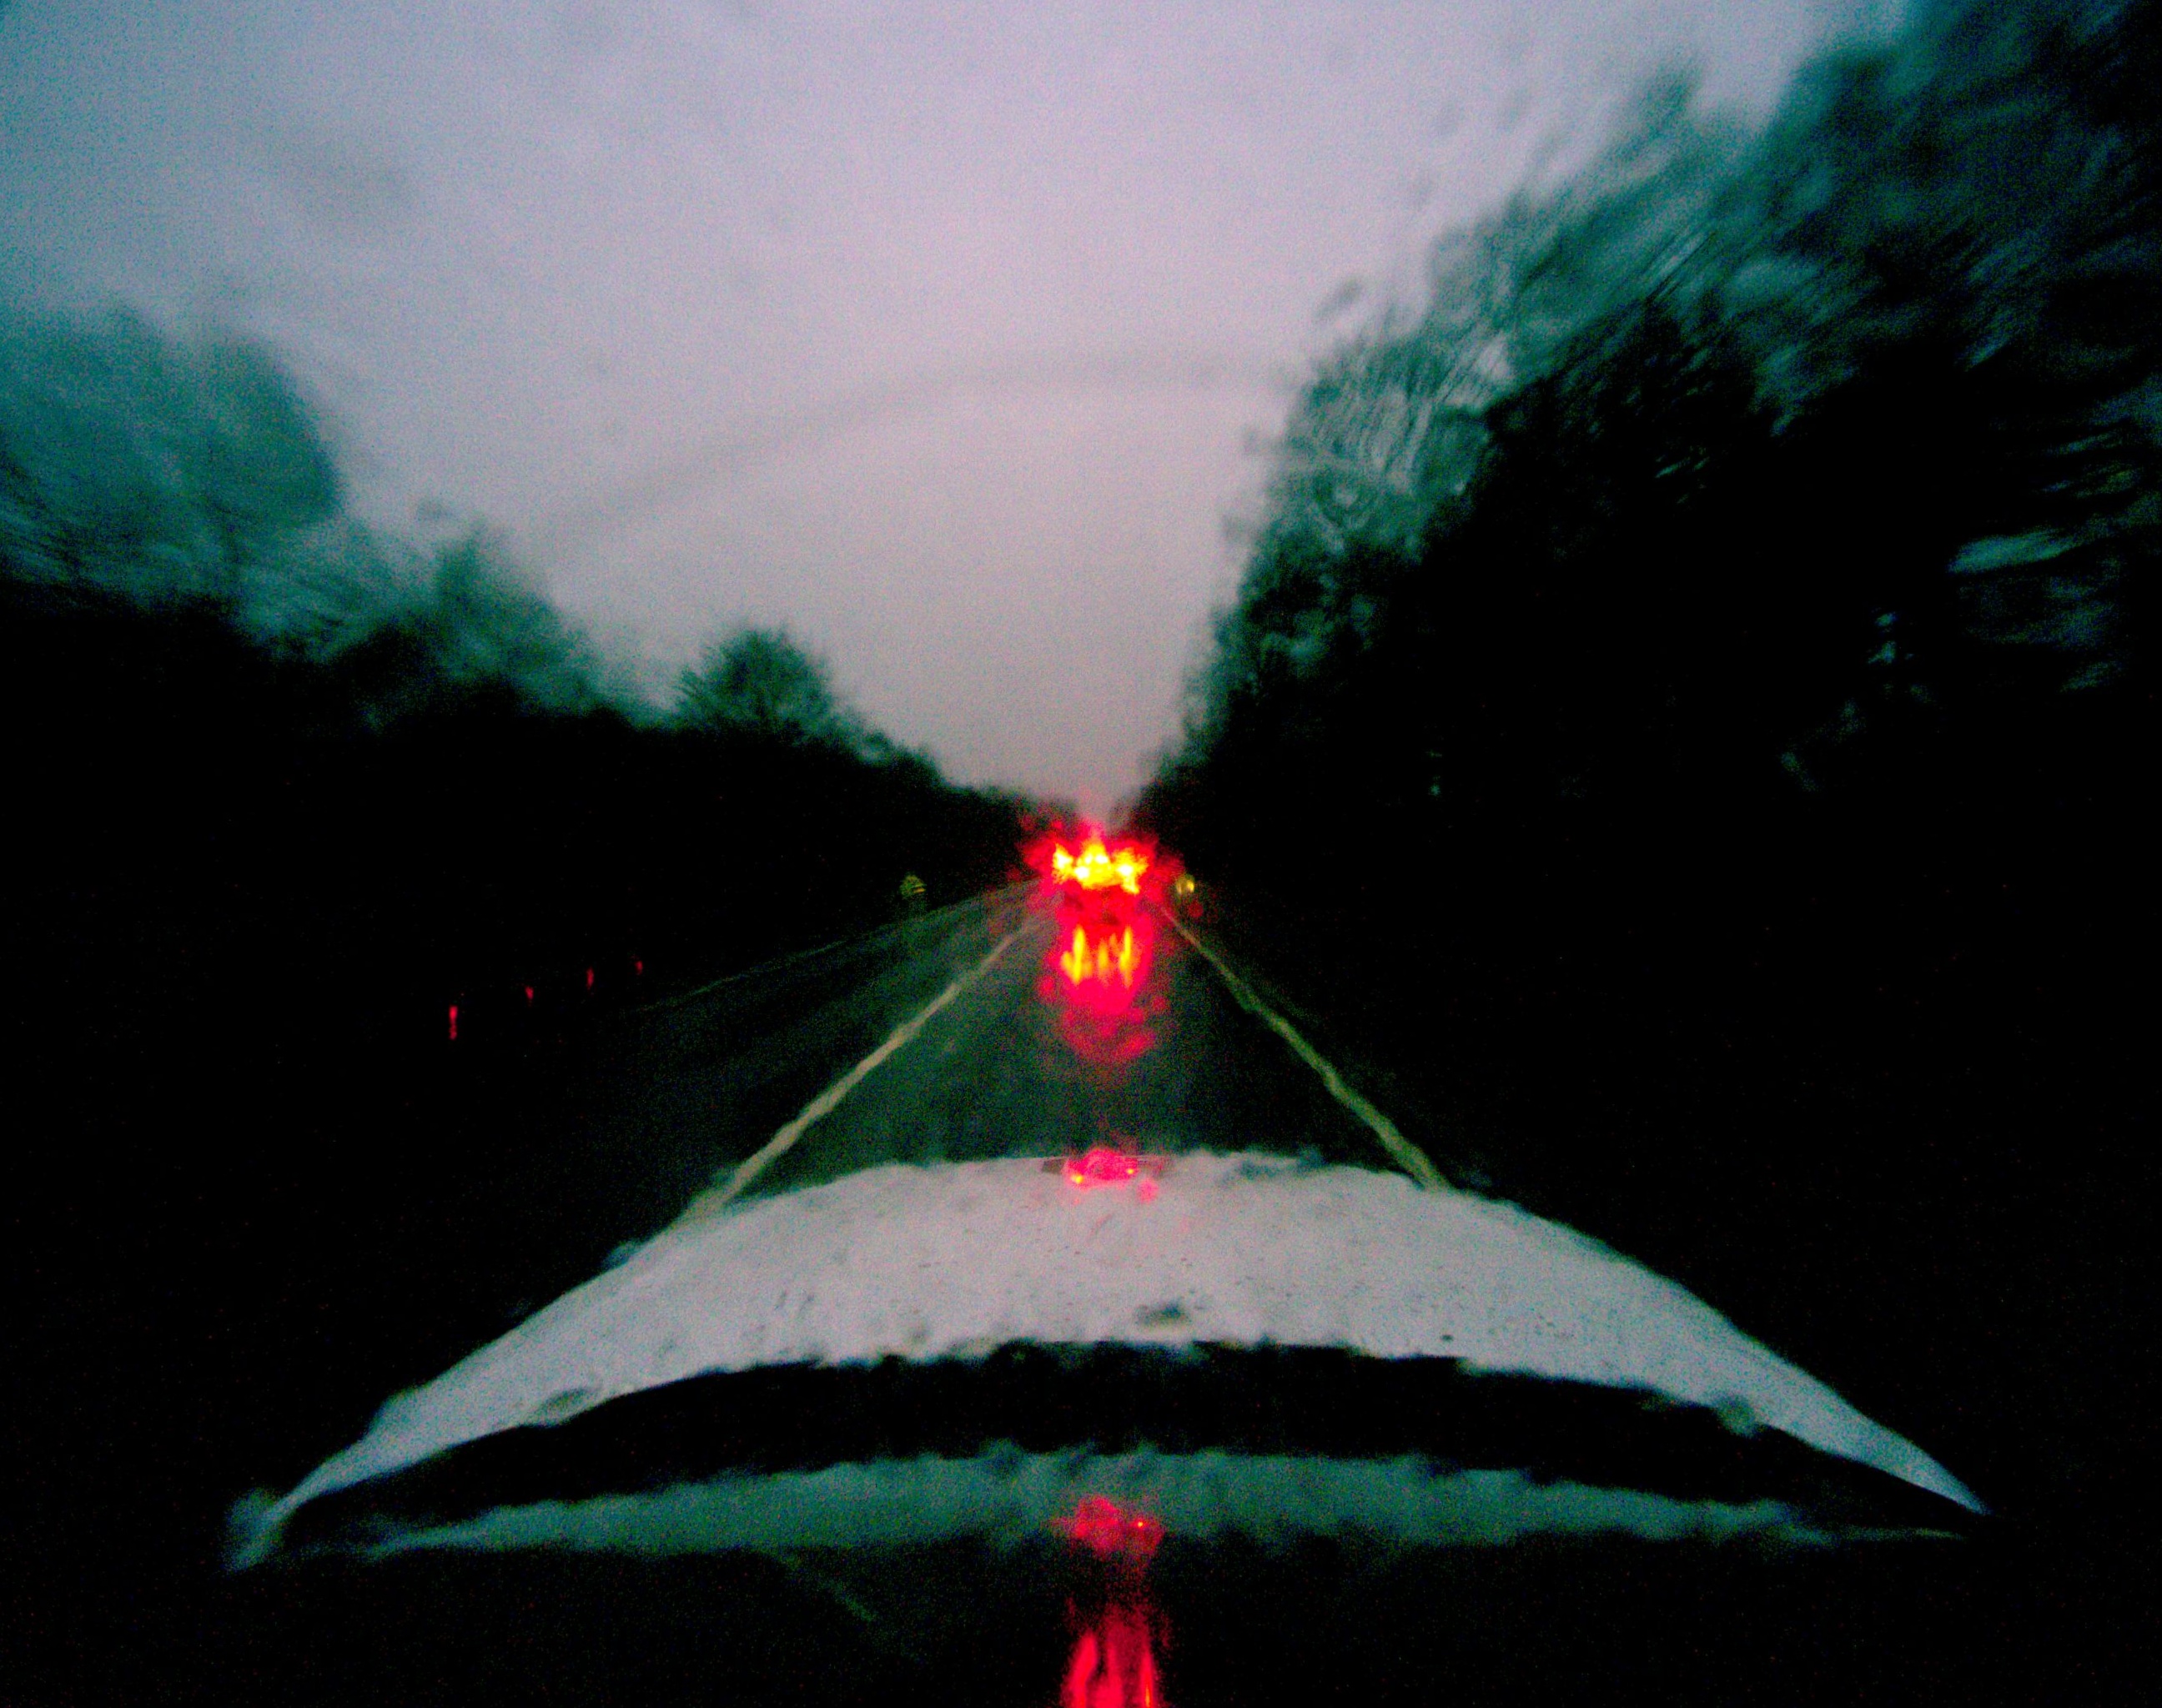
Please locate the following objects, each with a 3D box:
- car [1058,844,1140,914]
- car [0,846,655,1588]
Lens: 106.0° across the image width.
[{"bbox_3d":[0.550,0.670,24.280,2.190,1.877,4.828,0,0,1],"label":"car"},{"bbox_3d":[-3.137,0.780,2.184,1.688,1.560,4.131,0,1,2],"label":"car"}]
